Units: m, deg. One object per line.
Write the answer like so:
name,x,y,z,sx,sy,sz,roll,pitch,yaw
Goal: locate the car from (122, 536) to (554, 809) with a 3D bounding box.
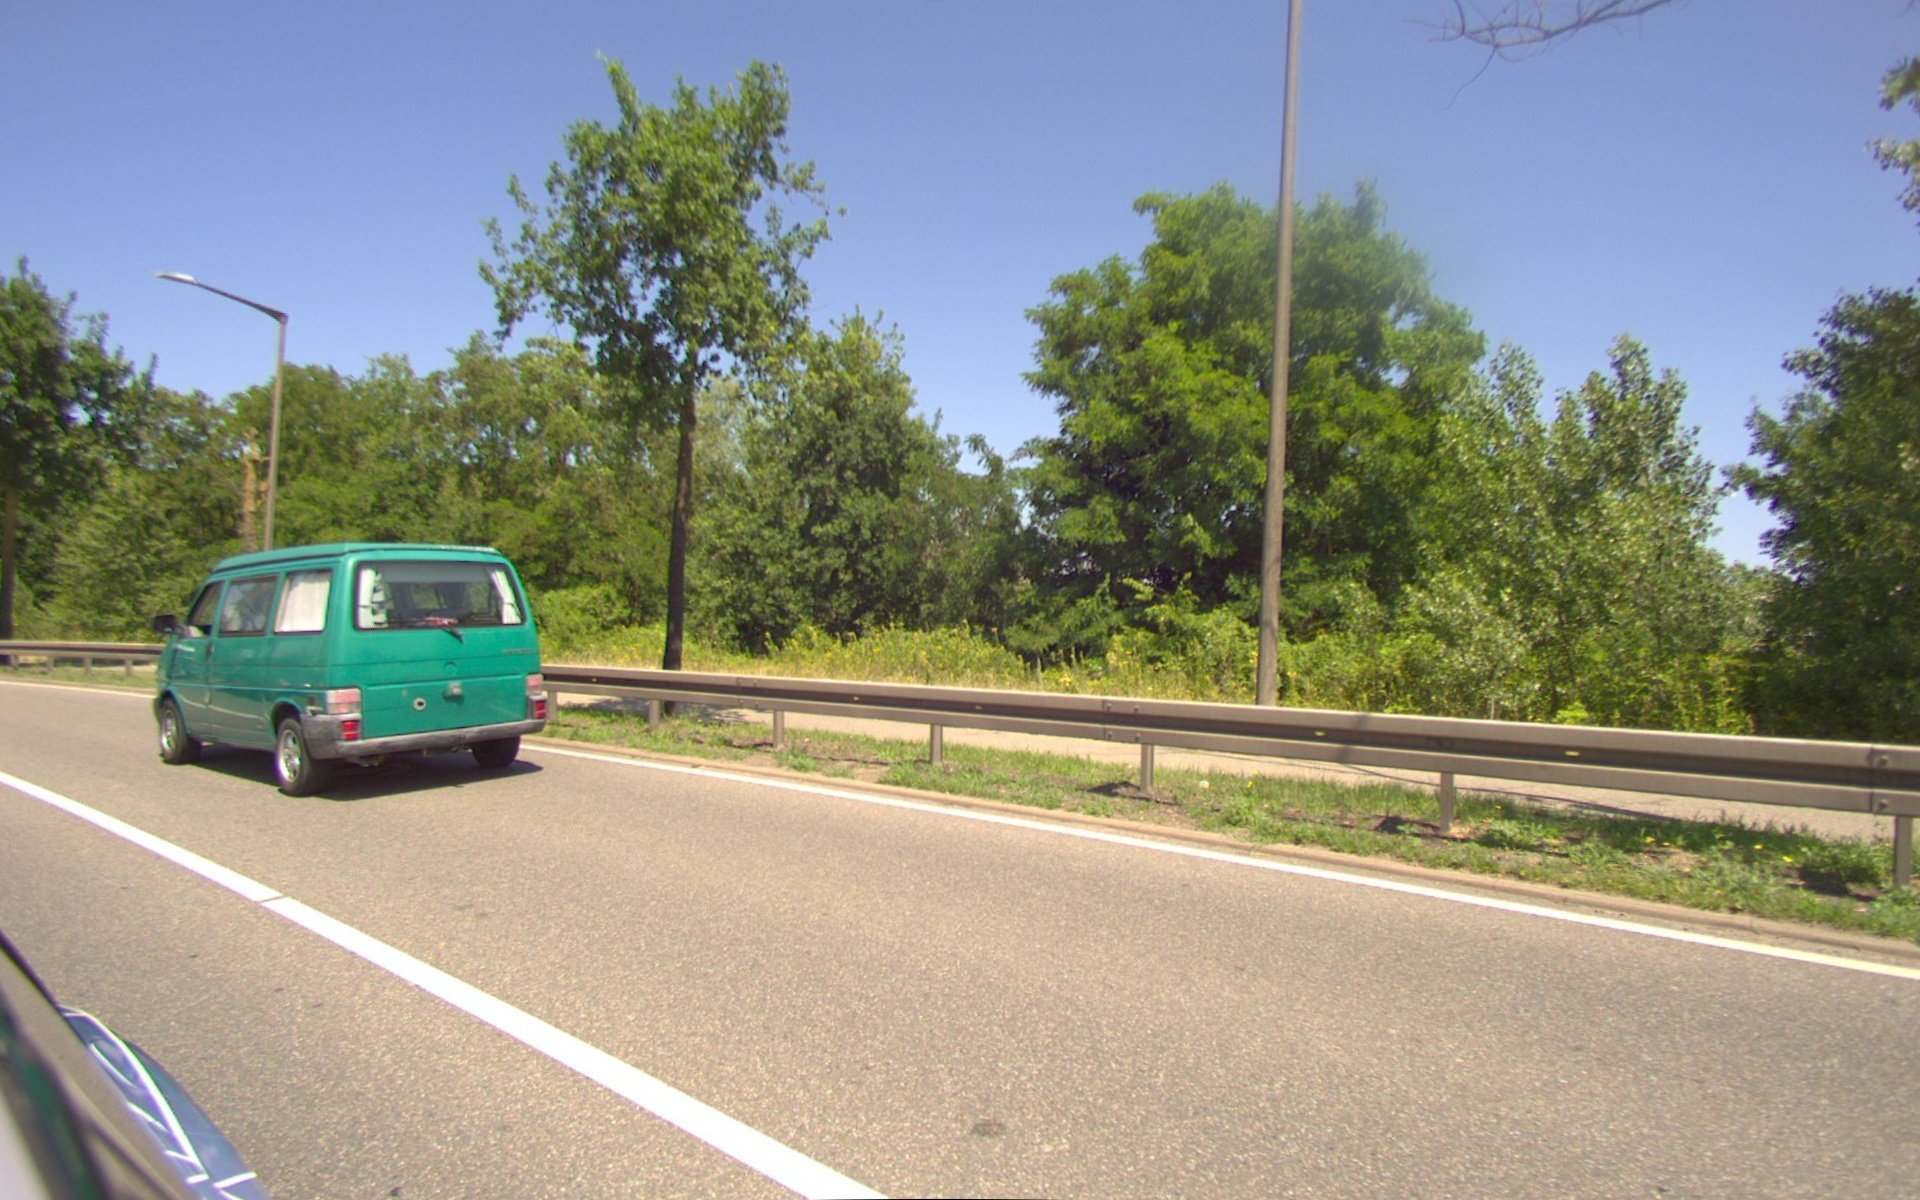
car,-5.930,0.551,9.409,4.767,1.953,1.813,-1,-1,37
